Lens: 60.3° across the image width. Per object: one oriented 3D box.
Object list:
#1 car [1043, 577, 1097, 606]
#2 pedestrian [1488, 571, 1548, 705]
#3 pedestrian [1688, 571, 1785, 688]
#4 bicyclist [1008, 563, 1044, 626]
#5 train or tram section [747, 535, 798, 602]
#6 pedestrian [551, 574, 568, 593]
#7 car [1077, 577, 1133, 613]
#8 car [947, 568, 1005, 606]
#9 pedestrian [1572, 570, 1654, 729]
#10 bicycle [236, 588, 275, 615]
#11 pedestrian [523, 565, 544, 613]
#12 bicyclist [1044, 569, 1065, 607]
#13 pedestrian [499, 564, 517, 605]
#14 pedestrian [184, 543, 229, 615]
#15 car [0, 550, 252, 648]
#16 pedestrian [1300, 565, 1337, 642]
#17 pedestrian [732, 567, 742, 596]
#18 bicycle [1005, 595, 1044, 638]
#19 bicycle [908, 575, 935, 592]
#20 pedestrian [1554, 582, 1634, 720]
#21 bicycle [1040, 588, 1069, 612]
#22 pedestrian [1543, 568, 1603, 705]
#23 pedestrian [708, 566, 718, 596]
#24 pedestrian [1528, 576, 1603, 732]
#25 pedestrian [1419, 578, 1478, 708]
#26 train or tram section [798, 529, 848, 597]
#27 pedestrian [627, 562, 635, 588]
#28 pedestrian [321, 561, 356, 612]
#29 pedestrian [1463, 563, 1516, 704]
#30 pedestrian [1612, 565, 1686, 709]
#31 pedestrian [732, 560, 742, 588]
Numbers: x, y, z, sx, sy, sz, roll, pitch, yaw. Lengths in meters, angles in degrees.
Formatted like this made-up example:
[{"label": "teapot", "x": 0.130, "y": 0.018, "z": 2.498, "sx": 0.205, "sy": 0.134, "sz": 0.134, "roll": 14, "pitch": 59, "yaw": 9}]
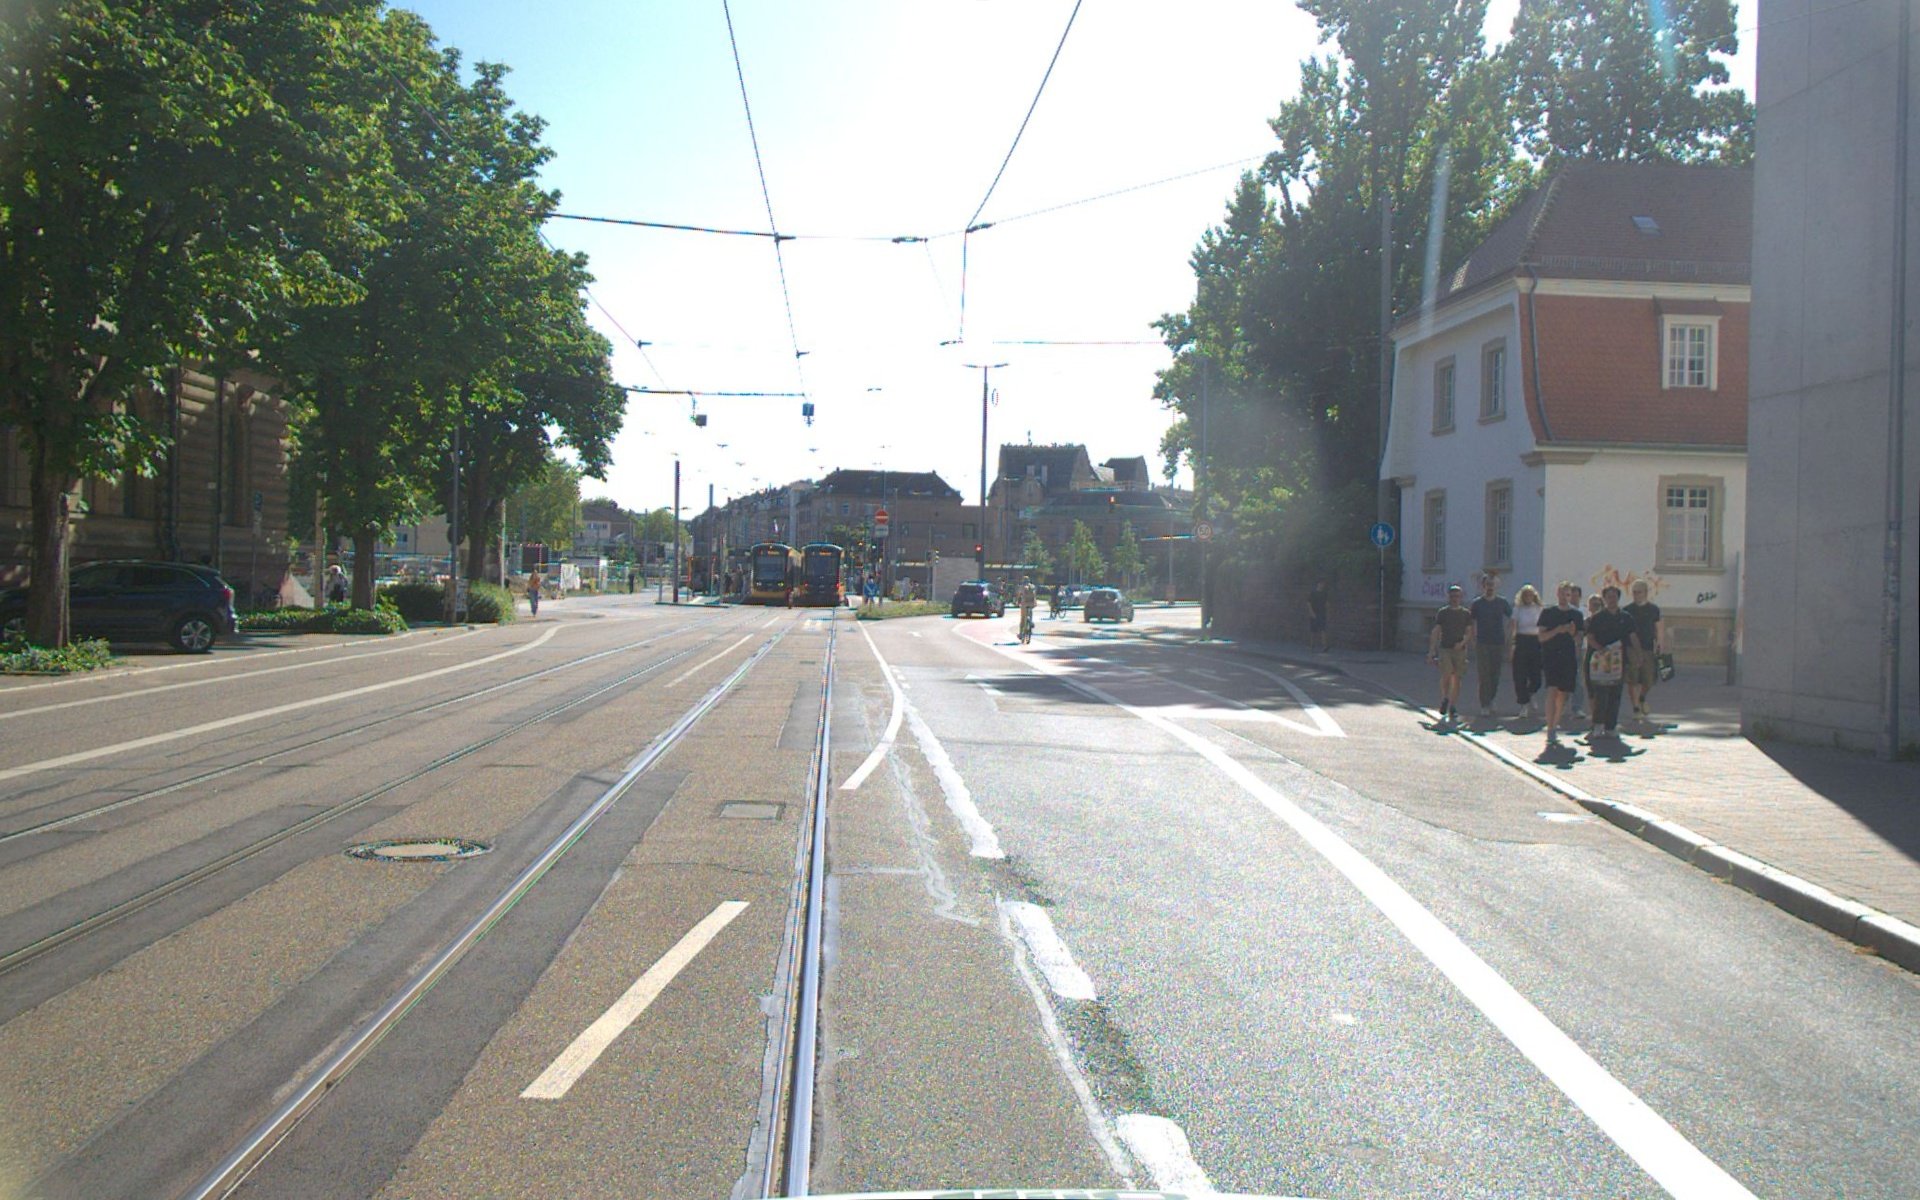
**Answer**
[{"label": "car", "x": 6.541, "y": -0.494, "z": 98.128, "sx": 1.670, "sy": 1.672, "sz": 3.705, "roll": 3, "pitch": 1, "yaw": 30}, {"label": "pedestrian", "x": 7.742, "y": 0.521, "z": 22.938, "sx": 0.519, "sy": 1.805, "sz": 0.733, "roll": -3, "pitch": 1, "yaw": 36}, {"label": "pedestrian", "x": 11.323, "y": 0.423, "z": 24.128, "sx": 0.975, "sy": 1.669, "sz": 0.855, "roll": 1, "pitch": -1, "yaw": -19}, {"label": "bicyclist", "x": 1.850, "y": -0.162, "z": 46.380, "sx": 0.690, "sy": 1.704, "sz": 1.102, "roll": 3, "pitch": 1, "yaw": 15}, {"label": "train or tram section", "x": -11.345, "y": -1.965, "z": 101.145, "sx": 2.688, "sy": 3.715, "sz": 13.773, "roll": 1, "pitch": 1, "yaw": -5}, {"label": "pedestrian", "x": -23.741, "y": -0.983, "z": 97.989, "sx": 0.880, "sy": 1.064, "sz": 0.655, "roll": 1, "pitch": 1, "yaw": -4}, {"label": "car", "x": 6.791, "y": -0.248, "z": 76.983, "sx": 1.752, "sy": 1.537, "sz": 3.714, "roll": 3, "pitch": 1, "yaw": 18}, {"label": "car", "x": 0.745, "y": -0.591, "z": 75.370, "sx": 1.751, "sy": 1.632, "sz": 3.716, "roll": 3, "pitch": 1, "yaw": 14}, {"label": "pedestrian", "x": 7.684, "y": 0.566, "z": 19.489, "sx": 0.633, "sy": 1.793, "sz": 0.957, "roll": -3, "pitch": 1, "yaw": 10}, {"label": "bicycle", "x": -19.574, "y": 0.032, "z": 45.972, "sx": 0.471, "sy": 0.737, "sz": 1.619, "roll": 1, "pitch": 0, "yaw": -3}, {"label": "pedestrian", "x": -15.799, "y": -0.413, "z": 61.252, "sx": 0.627, "sy": 1.726, "sz": 0.813, "roll": -1, "pitch": 1, "yaw": -23}, {"label": "bicyclist", "x": 4.475, "y": -0.579, "z": 78.281, "sx": 0.690, "sy": 1.730, "sz": 0.987, "roll": 4, "pitch": 2, "yaw": 20}, {"label": "pedestrian", "x": -19.229, "y": -0.672, "z": 70.362, "sx": 0.606, "sy": 1.726, "sz": 0.679, "roll": 1, "pitch": 1, "yaw": -3}, {"label": "pedestrian", "x": -18.122, "y": -0.511, "z": 39.801, "sx": 0.687, "sy": 1.663, "sz": 0.759, "roll": 3, "pitch": 1, "yaw": -5}, {"label": "car", "x": -14.623, "y": -0.014, "z": 28.818, "sx": 3.948, "sy": 1.577, "sz": 1.857, "roll": 2, "pitch": 0, "yaw": -32}, {"label": "pedestrian", "x": 9.224, "y": 0.086, "z": 42.550, "sx": 0.625, "sy": 1.937, "sz": 1.134, "roll": -1, "pitch": 1, "yaw": -3}, {"label": "pedestrian", "x": -14.057, "y": -1.165, "z": 104.247, "sx": 0.614, "sy": 1.859, "sz": 0.661, "roll": 1, "pitch": 1, "yaw": -6}, {"label": "bicycle", "x": 1.816, "y": 0.442, "z": 46.363, "sx": 0.690, "sy": 1.123, "sz": 1.718, "roll": 3, "pitch": 1, "yaw": 15}, {"label": "bicycle", "x": -2.762, "y": -1.181, "z": 118.187, "sx": 1.897, "sy": 1.122, "sz": 0.598, "roll": 1, "pitch": 1, "yaw": -7}, {"label": "pedestrian", "x": 7.901, "y": 0.626, "z": 20.607, "sx": 0.812, "sy": 1.632, "sz": 0.893, "roll": -3, "pitch": 1, "yaw": 24}, {"label": "bicycle", "x": 4.492, "y": -0.018, "z": 78.427, "sx": 0.690, "sy": 1.073, "sz": 2.314, "roll": 4, "pitch": 2, "yaw": 20}, {"label": "pedestrian", "x": 8.367, "y": 0.491, "z": 22.595, "sx": 0.597, "sy": 1.805, "sz": 0.653, "roll": -3, "pitch": 1, "yaw": 12}, {"label": "pedestrian", "x": -15.772, "y": -1.213, "z": 105.643, "sx": 0.614, "sy": 1.859, "sz": 0.661, "roll": 1, "pitch": 1, "yaw": -6}, {"label": "pedestrian", "x": 7.071, "y": 0.613, "z": 19.334, "sx": 0.485, "sy": 1.758, "sz": 0.816, "roll": -3, "pitch": 1, "yaw": 0}, {"label": "pedestrian", "x": 6.869, "y": 0.596, "z": 23.272, "sx": 0.593, "sy": 1.777, "sz": 0.718, "roll": -2, "pitch": 1, "yaw": 4}, {"label": "train or tram section", "x": -8.190, "y": -2.235, "z": 98.674, "sx": 2.688, "sy": 3.715, "sz": 13.773, "roll": 1, "pitch": 1, "yaw": -5}, {"label": "pedestrian", "x": -26.110, "y": -1.973, "z": 131.202, "sx": 0.514, "sy": 2.049, "sz": 0.522, "roll": 1, "pitch": 1, "yaw": 0}, {"label": "pedestrian", "x": -18.894, "y": -0.416, "z": 50.263, "sx": 0.909, "sy": 1.530, "sz": 0.699, "roll": 1, "pitch": 1, "yaw": -27}, {"label": "pedestrian", "x": 7.464, "y": 0.460, "z": 23.337, "sx": 0.508, "sy": 1.935, "sz": 0.612, "roll": -2, "pitch": 1, "yaw": 4}, {"label": "pedestrian", "x": 9.033, "y": 0.472, "z": 21.705, "sx": 0.643, "sy": 1.833, "sz": 0.732, "roll": -2, "pitch": 1, "yaw": 3}, {"label": "pedestrian", "x": -15.167, "y": -1.755, "z": 112.464, "sx": 0.614, "sy": 1.859, "sz": 0.661, "roll": 1, "pitch": 1, "yaw": -6}]
